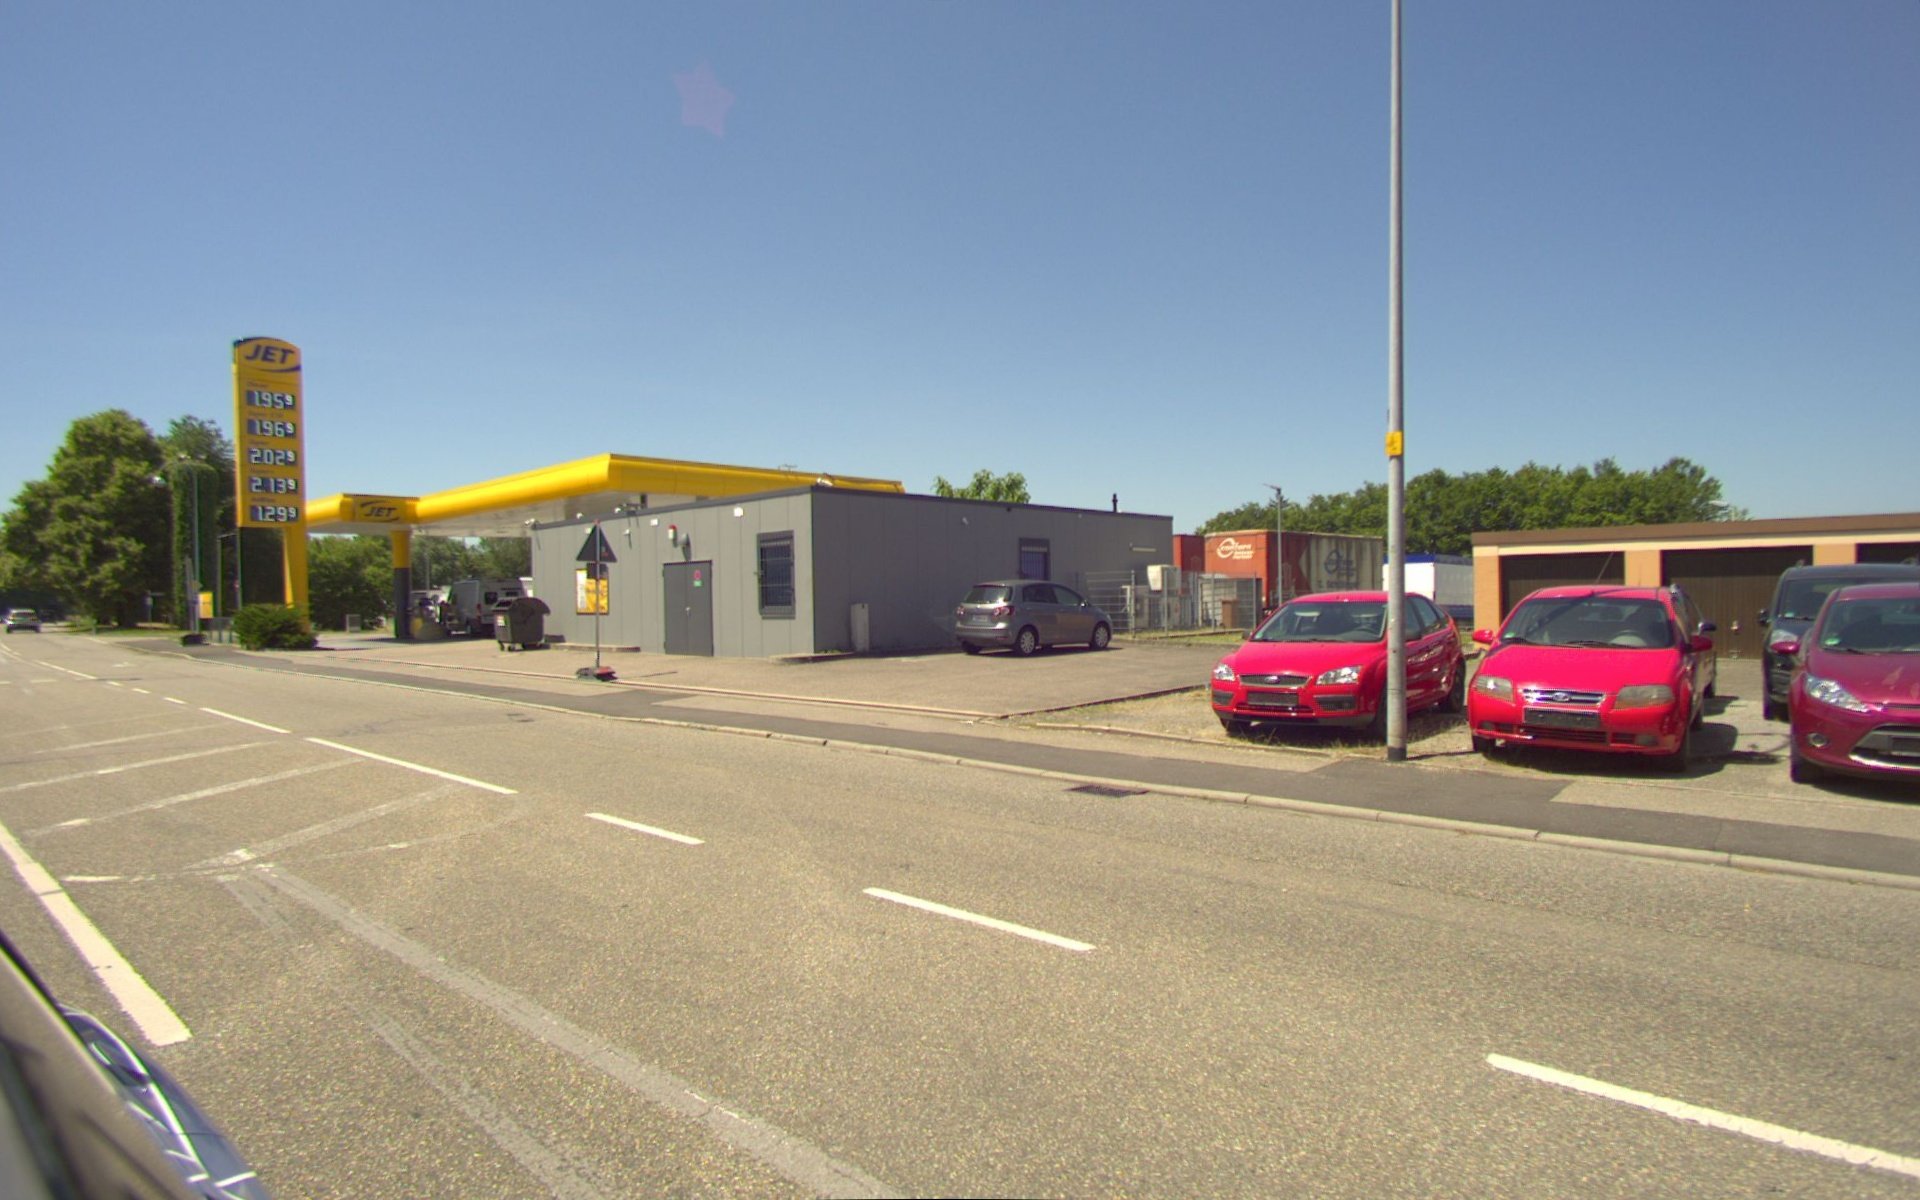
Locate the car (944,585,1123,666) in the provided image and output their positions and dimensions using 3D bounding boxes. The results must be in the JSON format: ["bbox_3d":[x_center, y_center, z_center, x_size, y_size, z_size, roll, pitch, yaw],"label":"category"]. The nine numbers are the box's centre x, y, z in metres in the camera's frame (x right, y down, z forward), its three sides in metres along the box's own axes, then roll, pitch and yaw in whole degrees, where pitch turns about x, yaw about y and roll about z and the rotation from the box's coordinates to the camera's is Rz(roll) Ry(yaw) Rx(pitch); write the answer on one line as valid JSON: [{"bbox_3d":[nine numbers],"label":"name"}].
[{"bbox_3d":[1.671,0.479,22.060,1.755,1.596,3.942,0,1,44],"label":"car"}]

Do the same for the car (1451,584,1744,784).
[{"bbox_3d":[6.070,0.597,9.453,1.891,1.468,3.628,0,1,39],"label":"car"}]

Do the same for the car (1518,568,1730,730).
[{"bbox_3d":[8.451,0.498,12.747,1.890,1.722,3.628,0,1,39],"label":"car"}]

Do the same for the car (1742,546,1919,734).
[{"bbox_3d":[10.156,0.364,11.549,1.857,1.819,3.811,0,1,39],"label":"car"}]

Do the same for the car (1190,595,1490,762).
[{"bbox_3d":[4.359,0.697,11.234,1.826,1.455,4.083,0,1,41],"label":"car"}]

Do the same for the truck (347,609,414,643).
[{"bbox_3d":[-52.258,2.298,91.131,2.654,2.818,10.165,-2,0,-44],"label":"truck"}]

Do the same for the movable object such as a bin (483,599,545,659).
[{"bbox_3d":[-12.239,0.785,27.741,1.428,1.528,0.942,-2,3,43],"label":"movable object such as a bin"}]

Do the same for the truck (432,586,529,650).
[{"bbox_3d":[-21.242,0.720,44.661,2.206,2.618,6.743,-1,1,-40],"label":"truck"}]

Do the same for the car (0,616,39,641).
[{"bbox_3d":[-68.058,2.056,73.315,1.945,1.685,4.254,0,-1,-41],"label":"car"}]

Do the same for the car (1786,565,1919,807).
[{"bbox_3d":[7.745,0.549,7.980,1.880,1.617,3.628,0,1,39],"label":"car"}]

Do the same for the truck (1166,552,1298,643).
[{"bbox_3d":[11.422,-0.153,41.953,2.154,3.452,7.789,0,1,41],"label":"truck"}]

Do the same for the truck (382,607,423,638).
[{"bbox_3d":[-56.919,2.263,103.229,2.402,2.950,8.180,-2,0,-38],"label":"truck"}]
